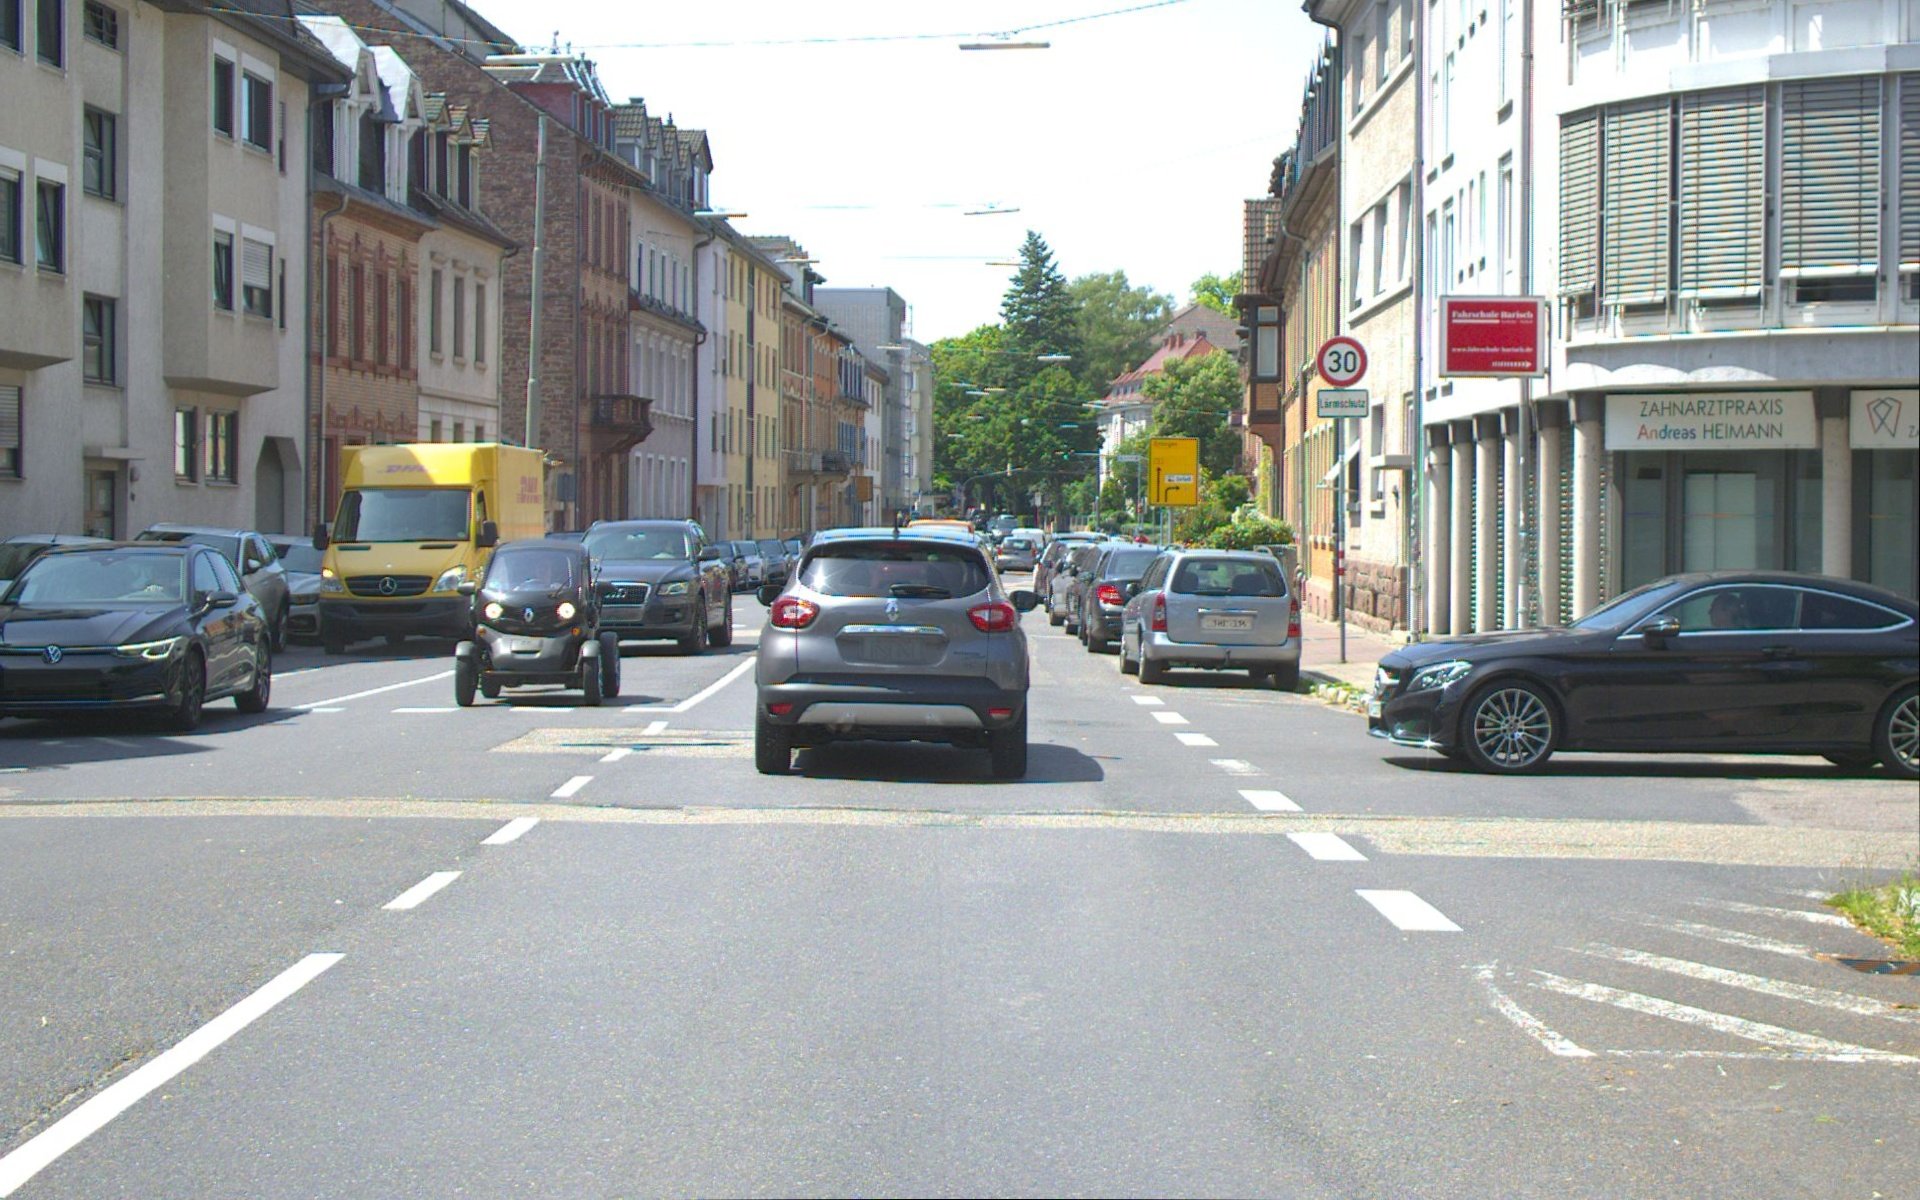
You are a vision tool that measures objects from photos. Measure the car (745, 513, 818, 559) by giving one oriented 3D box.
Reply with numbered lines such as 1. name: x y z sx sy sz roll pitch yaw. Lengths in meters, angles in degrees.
1. car: -5.856 -2.097 113.480 1.840 1.418 4.557 -2 1 4

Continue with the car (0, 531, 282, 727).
1. car: -6.597 0.175 27.002 1.742 1.414 4.223 0 1 0

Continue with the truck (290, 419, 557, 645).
1. truck: -7.075 -0.903 46.275 2.225 2.762 7.564 -1 1 1

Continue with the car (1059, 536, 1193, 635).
1. car: 2.477 -0.254 52.109 1.651 1.415 4.049 1 1 -2

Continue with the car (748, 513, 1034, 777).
1. car: -0.541 0.228 23.233 1.743 1.611 4.001 1 1 -3

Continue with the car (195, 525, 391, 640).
1. car: -9.491 -0.266 49.237 1.840 1.483 4.386 3 1 1

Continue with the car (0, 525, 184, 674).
1. car: -10.001 -0.052 37.956 1.839 1.484 4.387 3 1 -1

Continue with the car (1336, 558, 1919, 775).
1. car: 5.072 0.448 24.037 4.580 1.360 2.000 1 1 -2

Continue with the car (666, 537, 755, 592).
1. car: -6.948 -0.999 96.110 1.840 1.417 4.502 -3 1 3

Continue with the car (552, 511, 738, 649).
1. car: -3.868 -0.270 42.816 1.812 1.615 4.441 -1 1 1

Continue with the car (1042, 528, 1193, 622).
1. car: 2.588 -0.437 57.443 1.853 1.458 4.551 1 1 -6

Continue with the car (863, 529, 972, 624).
1. car: -0.731 -0.439 61.839 1.812 1.615 4.441 -1 1 1

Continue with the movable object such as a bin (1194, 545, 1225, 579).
1. movable object such as a bin: 6.612 -1.008 91.088 0.788 0.904 0.539 0 1 0

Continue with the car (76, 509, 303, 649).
1. car: -9.669 -0.284 43.456 1.839 1.590 4.387 3 1 -1

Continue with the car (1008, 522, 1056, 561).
1. car: 2.948 -2.388 140.857 1.763 1.554 3.942 1 1 4

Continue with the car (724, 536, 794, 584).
1. car: -6.243 -1.245 107.278 1.840 1.418 4.646 -1 1 0

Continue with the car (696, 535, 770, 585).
1. car: -6.667 -1.178 101.357 1.840 1.418 4.502 -1 1 0

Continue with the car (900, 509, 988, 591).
1. car: -0.379 -1.275 87.000 1.994 2.007 4.466 0 1 3

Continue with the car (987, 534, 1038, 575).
1. car: 2.038 -1.778 132.880 1.763 1.554 3.942 1 1 4

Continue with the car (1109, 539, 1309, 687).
1. car: 2.640 0.093 37.311 1.677 1.449 4.143 2 1 -2

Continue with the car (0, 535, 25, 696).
1. car: -9.738 0.119 30.265 1.839 1.484 4.387 3 1 -1

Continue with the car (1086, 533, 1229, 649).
1. car: 2.612 -0.159 46.265 1.711 1.468 4.438 1 1 1

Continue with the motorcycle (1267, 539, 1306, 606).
1. motorcycle: 6.080 -0.511 64.067 0.596 1.220 1.361 1 1 1

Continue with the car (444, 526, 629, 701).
1. car: -3.679 0.086 30.167 1.496 1.454 2.723 1 1 -5
